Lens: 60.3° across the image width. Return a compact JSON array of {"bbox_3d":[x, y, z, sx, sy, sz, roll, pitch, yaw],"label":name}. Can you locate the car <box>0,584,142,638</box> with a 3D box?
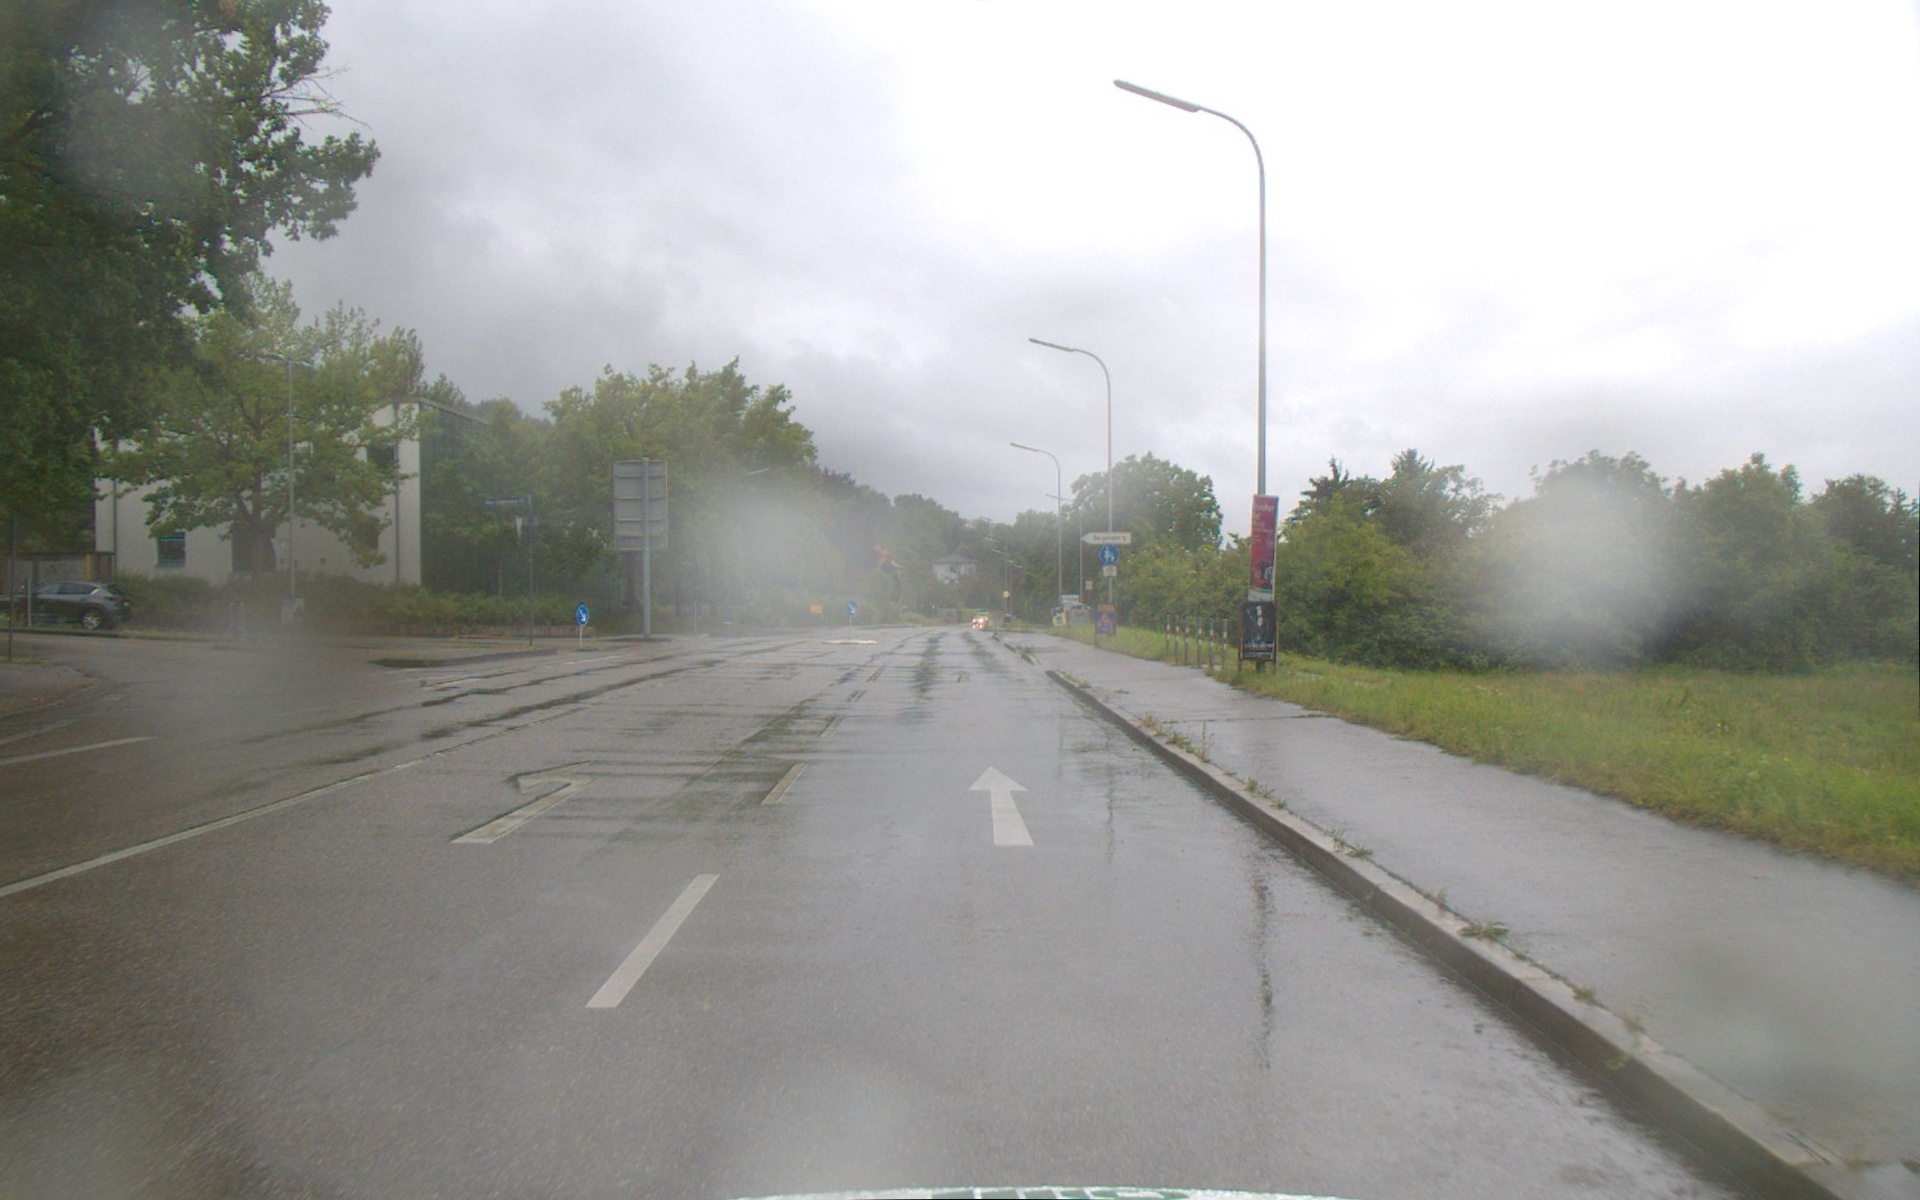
[{"bbox_3d":[-30.323,0.369,56.505,3.918,1.793,1.794,1,0,-13],"label":"car"}]
